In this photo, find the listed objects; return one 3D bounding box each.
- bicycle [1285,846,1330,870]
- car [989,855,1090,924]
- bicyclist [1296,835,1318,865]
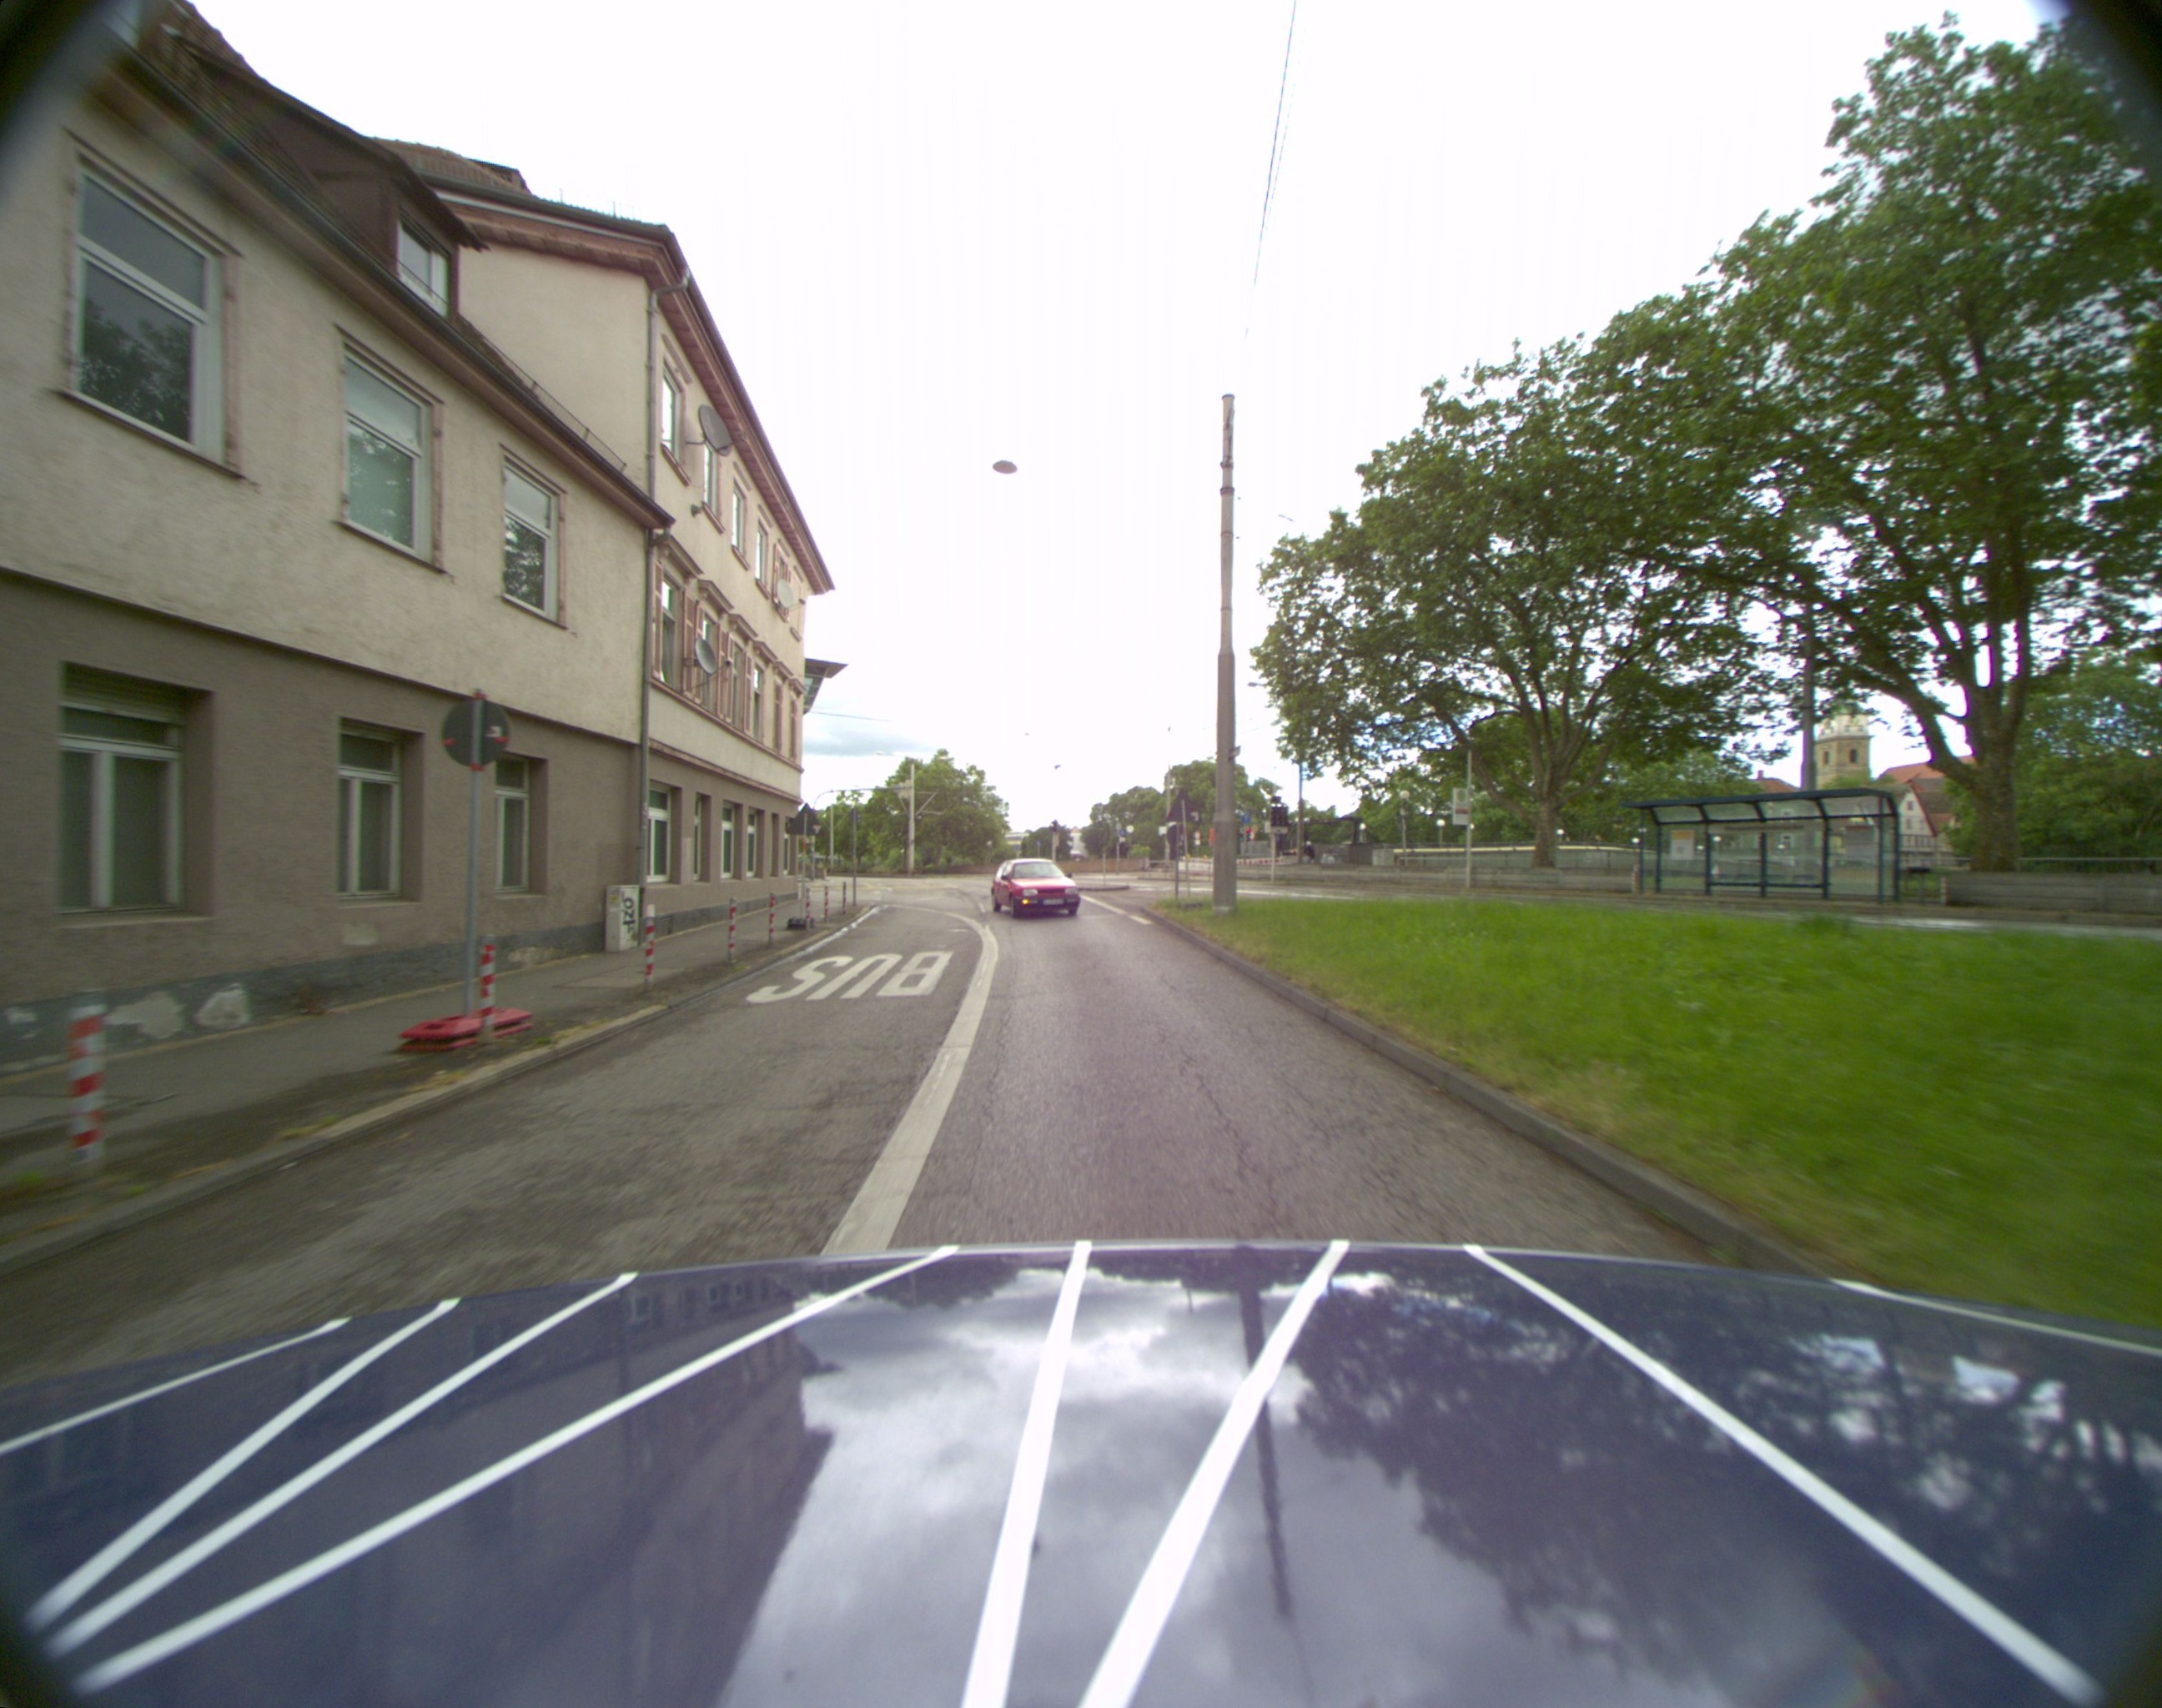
[{"bbox_3d":[12.767,0.249,42.830,2.258,1.271,0.692,-1,3,31],"label":"bicycle"},{"bbox_3d":[-1.223,0.835,20.149,1.852,1.414,4.167,-4,2,-14],"label":"car"},{"bbox_3d":[12.729,-0.227,42.813,1.006,1.641,0.643,-1,3,31],"label":"bicyclist"}]
